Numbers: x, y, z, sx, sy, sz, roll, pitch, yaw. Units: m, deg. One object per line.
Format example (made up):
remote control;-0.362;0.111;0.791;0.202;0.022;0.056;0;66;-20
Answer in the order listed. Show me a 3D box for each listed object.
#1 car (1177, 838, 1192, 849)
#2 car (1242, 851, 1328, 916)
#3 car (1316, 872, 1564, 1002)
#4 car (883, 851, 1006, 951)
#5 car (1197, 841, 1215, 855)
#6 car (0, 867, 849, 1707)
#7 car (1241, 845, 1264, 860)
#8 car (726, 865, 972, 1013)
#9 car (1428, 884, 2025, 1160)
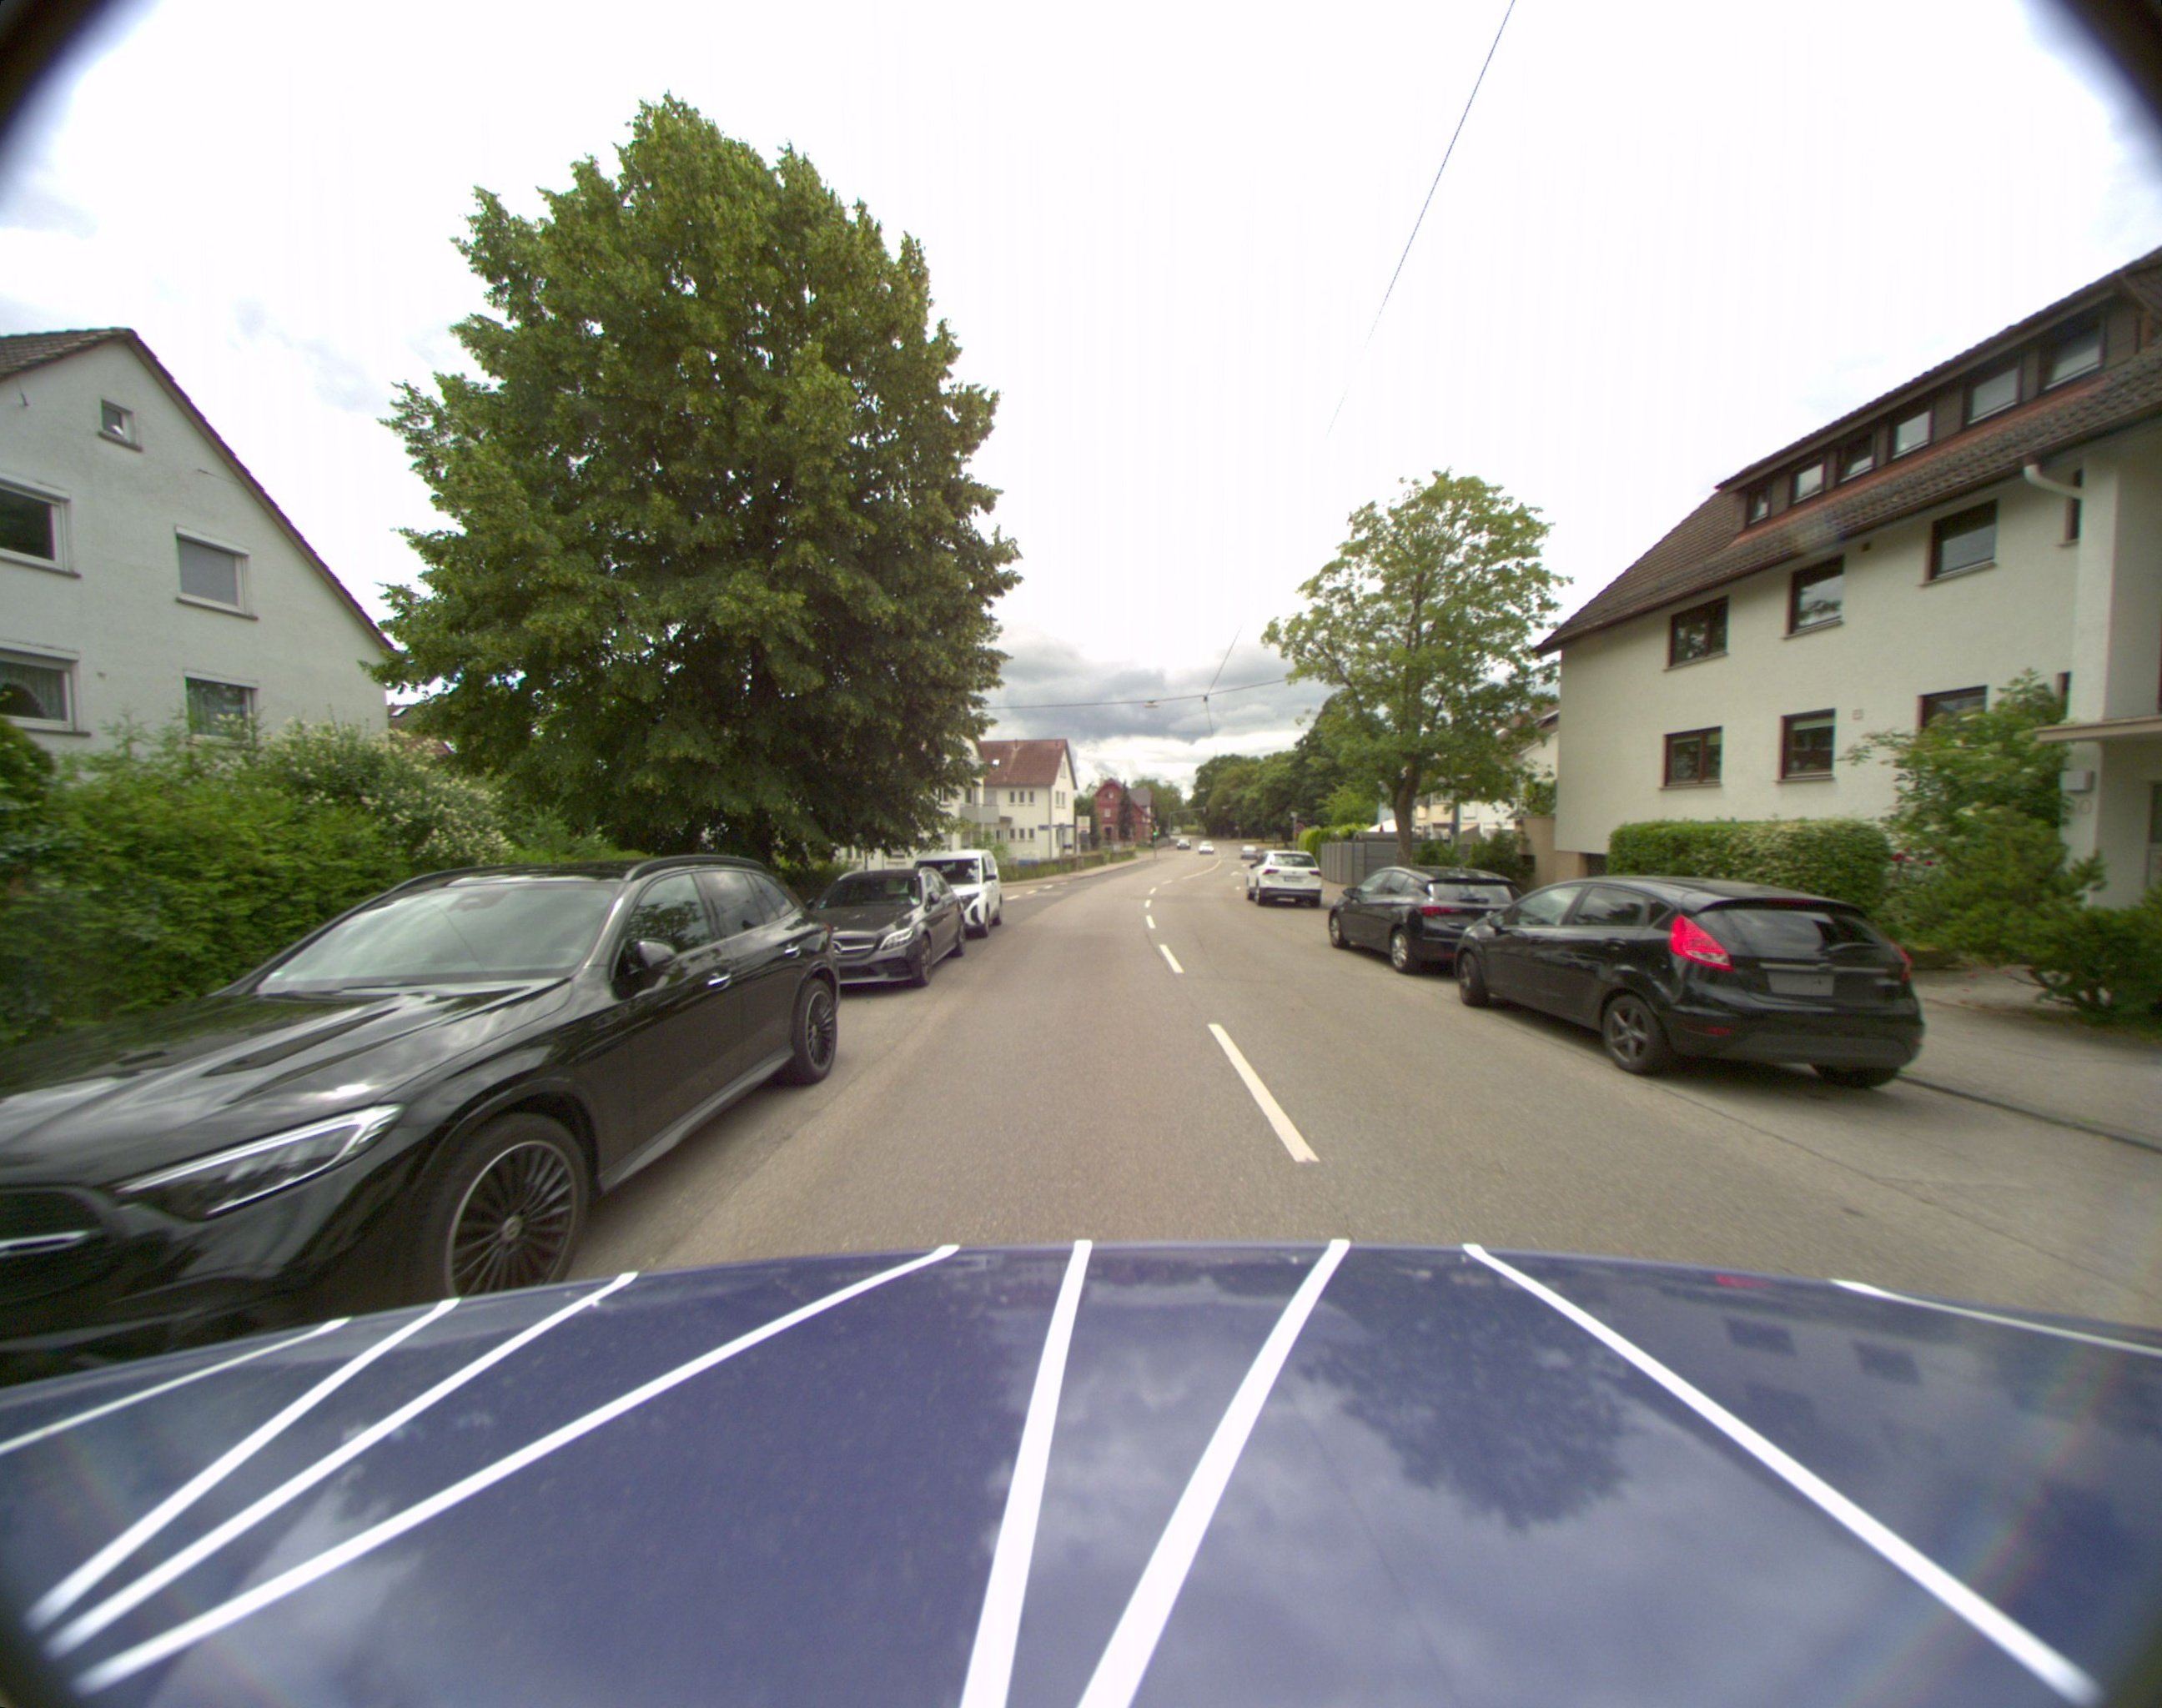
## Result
car;15.121;-1.550;110.733;1.924;1.510;4.001;0;3;10
car;6.208;0.817;23.619;1.853;1.704;4.576;1;1;6
car;5.063;1.072;11.433;1.767;1.430;4.077;1;1;0
car;-2.757;0.868;16.319;1.842;1.764;4.316;-3;0;-1
car;15.377;-0.758;93.403;1.779;1.510;3.557;-2;3;4
car;-2.838;0.980;3.576;1.998;1.606;4.538;-2;1;0
car;17.837;-0.169;78.870;1.714;1.347;4.088;3;2;20
car;-2.884;0.977;10.677;1.998;1.470;4.619;-1;1;0
car;4.869;1.112;6.685;1.767;1.430;4.078;2;1;1
